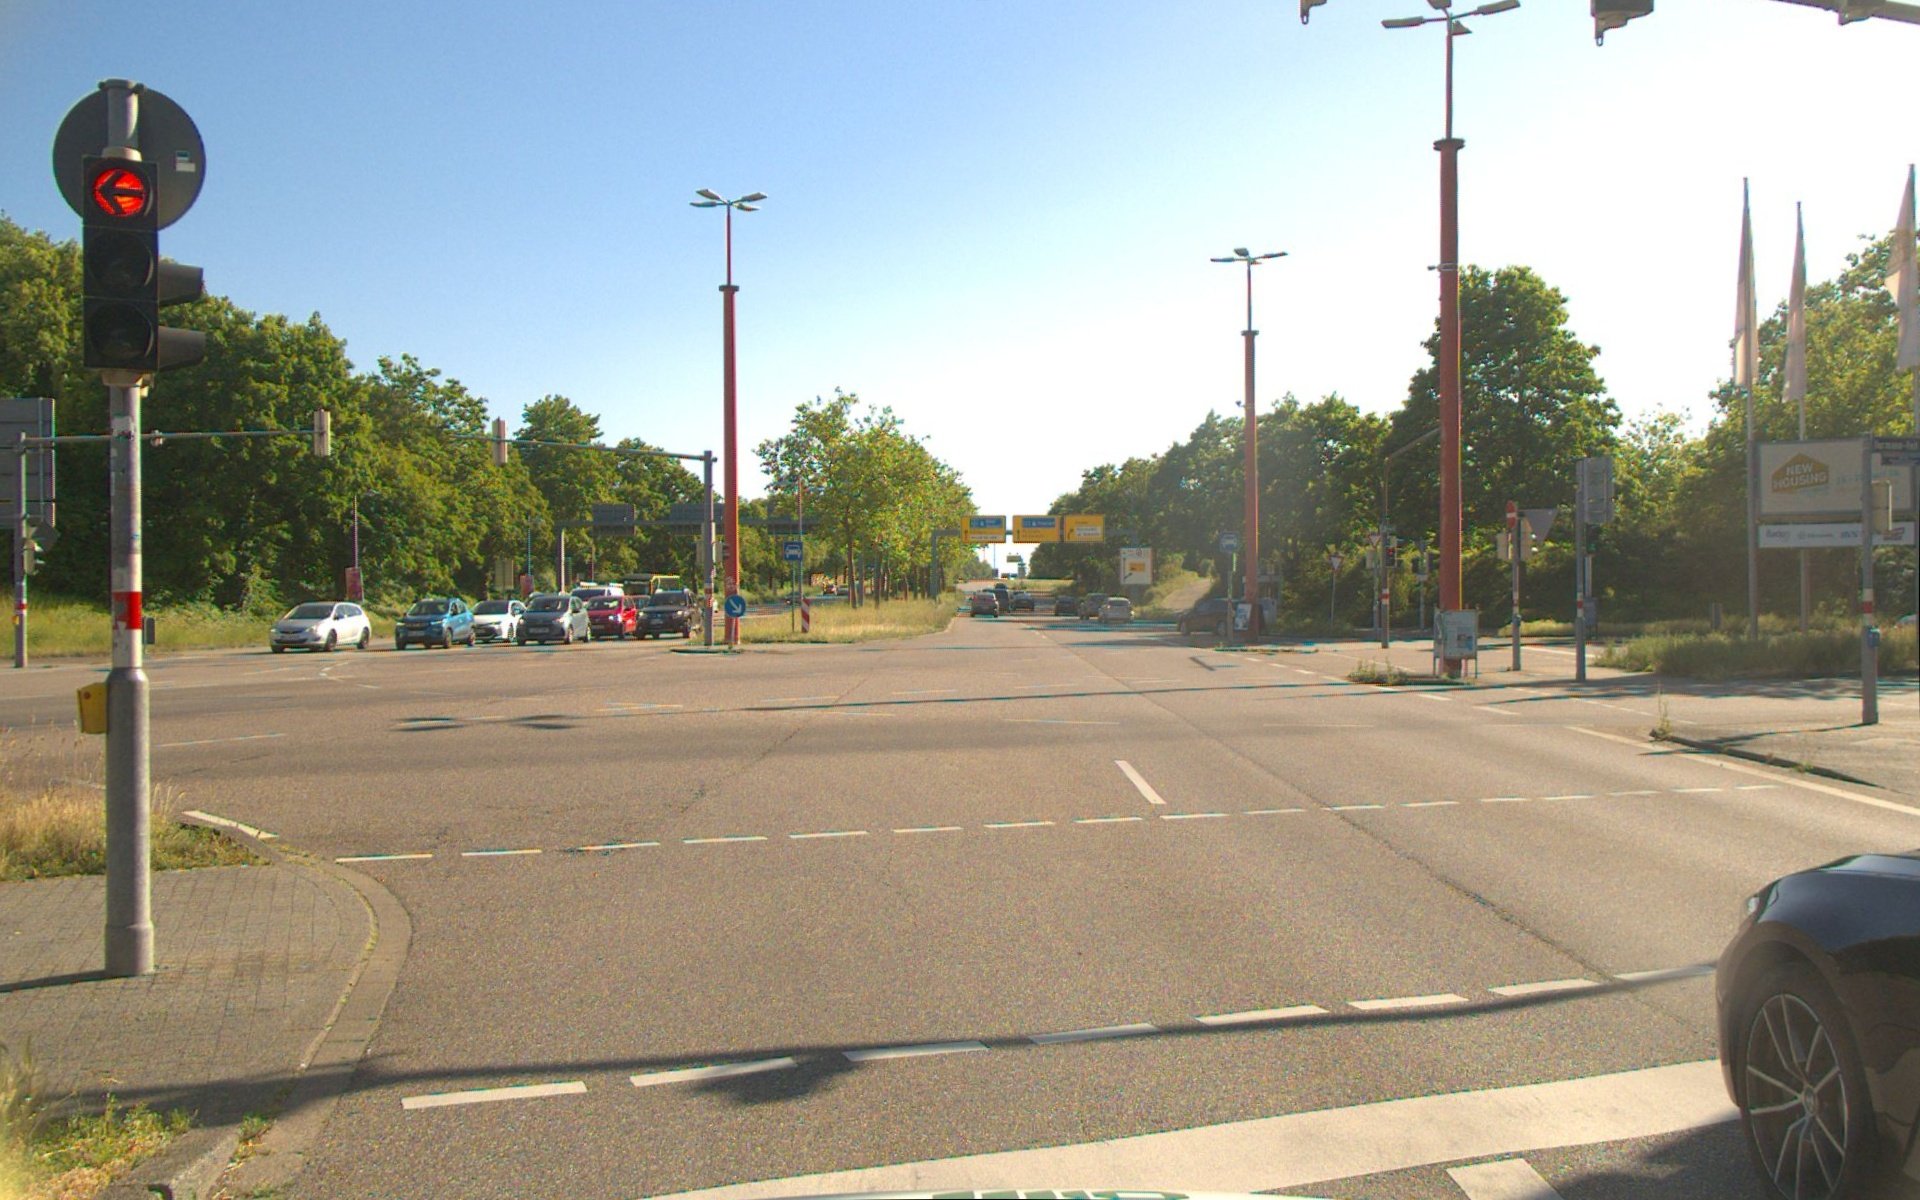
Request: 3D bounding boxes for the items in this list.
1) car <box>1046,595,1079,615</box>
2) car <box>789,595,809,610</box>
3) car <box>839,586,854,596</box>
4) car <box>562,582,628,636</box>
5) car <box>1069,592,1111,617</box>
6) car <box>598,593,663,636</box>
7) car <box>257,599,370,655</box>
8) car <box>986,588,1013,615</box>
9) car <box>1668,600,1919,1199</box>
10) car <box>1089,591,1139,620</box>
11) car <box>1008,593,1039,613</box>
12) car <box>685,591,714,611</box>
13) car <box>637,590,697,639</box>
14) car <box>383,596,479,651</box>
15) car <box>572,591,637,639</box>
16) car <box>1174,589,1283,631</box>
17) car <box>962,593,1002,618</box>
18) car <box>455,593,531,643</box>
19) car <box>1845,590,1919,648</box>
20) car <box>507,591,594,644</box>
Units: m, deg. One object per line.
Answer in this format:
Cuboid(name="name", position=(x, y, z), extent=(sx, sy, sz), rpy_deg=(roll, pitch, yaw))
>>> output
Cuboid(name="car", position=(7.622, 0.354, 123.339), extent=(1.915, 1.467, 4.277), rpy_deg=(0, 0, -4))
Cuboid(name="car", position=(-17.448, 0.301, 179.411), extent=(1.954, 1.601, 4.118), rpy_deg=(0, 0, -3))
Cuboid(name="car", position=(-15.985, -1.267, 233.135), extent=(1.846, 1.480, 3.656), rpy_deg=(0, 0, 0))
Cuboid(name="car", position=(-15.676, 0.384, 71.263), extent=(2.021, 2.231, 4.376), rpy_deg=(0, 0, -3))
Cuboid(name="car", position=(8.424, 0.288, 107.503), extent=(2.116, 1.601, 4.277), rpy_deg=(0, 0, -4))
Cuboid(name="car", position=(-12.715, 0.526, 64.045), extent=(1.954, 1.601, 4.117), rpy_deg=(0, 0, -4))
Cuboid(name="car", position=(-19.589, 0.784, 50.296), extent=(1.954, 1.601, 4.118), rpy_deg=(0, 0, -3))
Cuboid(name="car", position=(3.031, 0.133, 128.076), extent=(1.953, 2.049, 3.999), rpy_deg=(0, 0, -1))
Cuboid(name="car", position=(2.972, 0.714, 2.360), extent=(1.953, 1.419, 4.476), rpy_deg=(0, 0, -1))
Cuboid(name="car", position=(8.753, 0.326, 94.220), extent=(2.116, 1.601, 4.277), rpy_deg=(0, 0, -4))
Cuboid(name="car", position=(5.419, 0.253, 141.574), extent=(2.116, 1.601, 4.277), rpy_deg=(0, 0, -4))
Cuboid(name="car", position=(-21.767, 0.066, 138.291), extent=(1.954, 1.601, 4.117), rpy_deg=(0, 0, -4))
Cuboid(name="car", position=(-9.877, 0.470, 55.990), extent=(1.841, 1.601, 4.113), rpy_deg=(0, 0, -8))
Cuboid(name="car", position=(-16.211, 0.681, 50.890), extent=(1.955, 1.601, 4.116), rpy_deg=(0, 0, -5))
Cuboid(name="car", position=(-12.482, 0.506, 58.270), extent=(1.956, 1.601, 4.113), rpy_deg=(0, 0, -8))
Cuboid(name="car", position=(10.573, 0.368, 65.435), extent=(2.135, 1.601, 4.241), rpy_deg=(0, 0, -28))
Cuboid(name="car", position=(1.441, 0.326, 109.217), extent=(2.202, 1.601, 4.276), rpy_deg=(0, 0, -5))
Cuboid(name="car", position=(-15.994, 0.595, 56.783), extent=(1.956, 1.601, 4.113), rpy_deg=(-1, 0, -8))
Cuboid(name="car", position=(25.663, 0.469, 43.522), extent=(4.202, 1.453, 1.874), rpy_deg=(0, 0, -19))
Cuboid(name="car", position=(-12.808, 0.520, 51.963), extent=(1.954, 1.601, 4.118), rpy_deg=(0, 0, -4))
